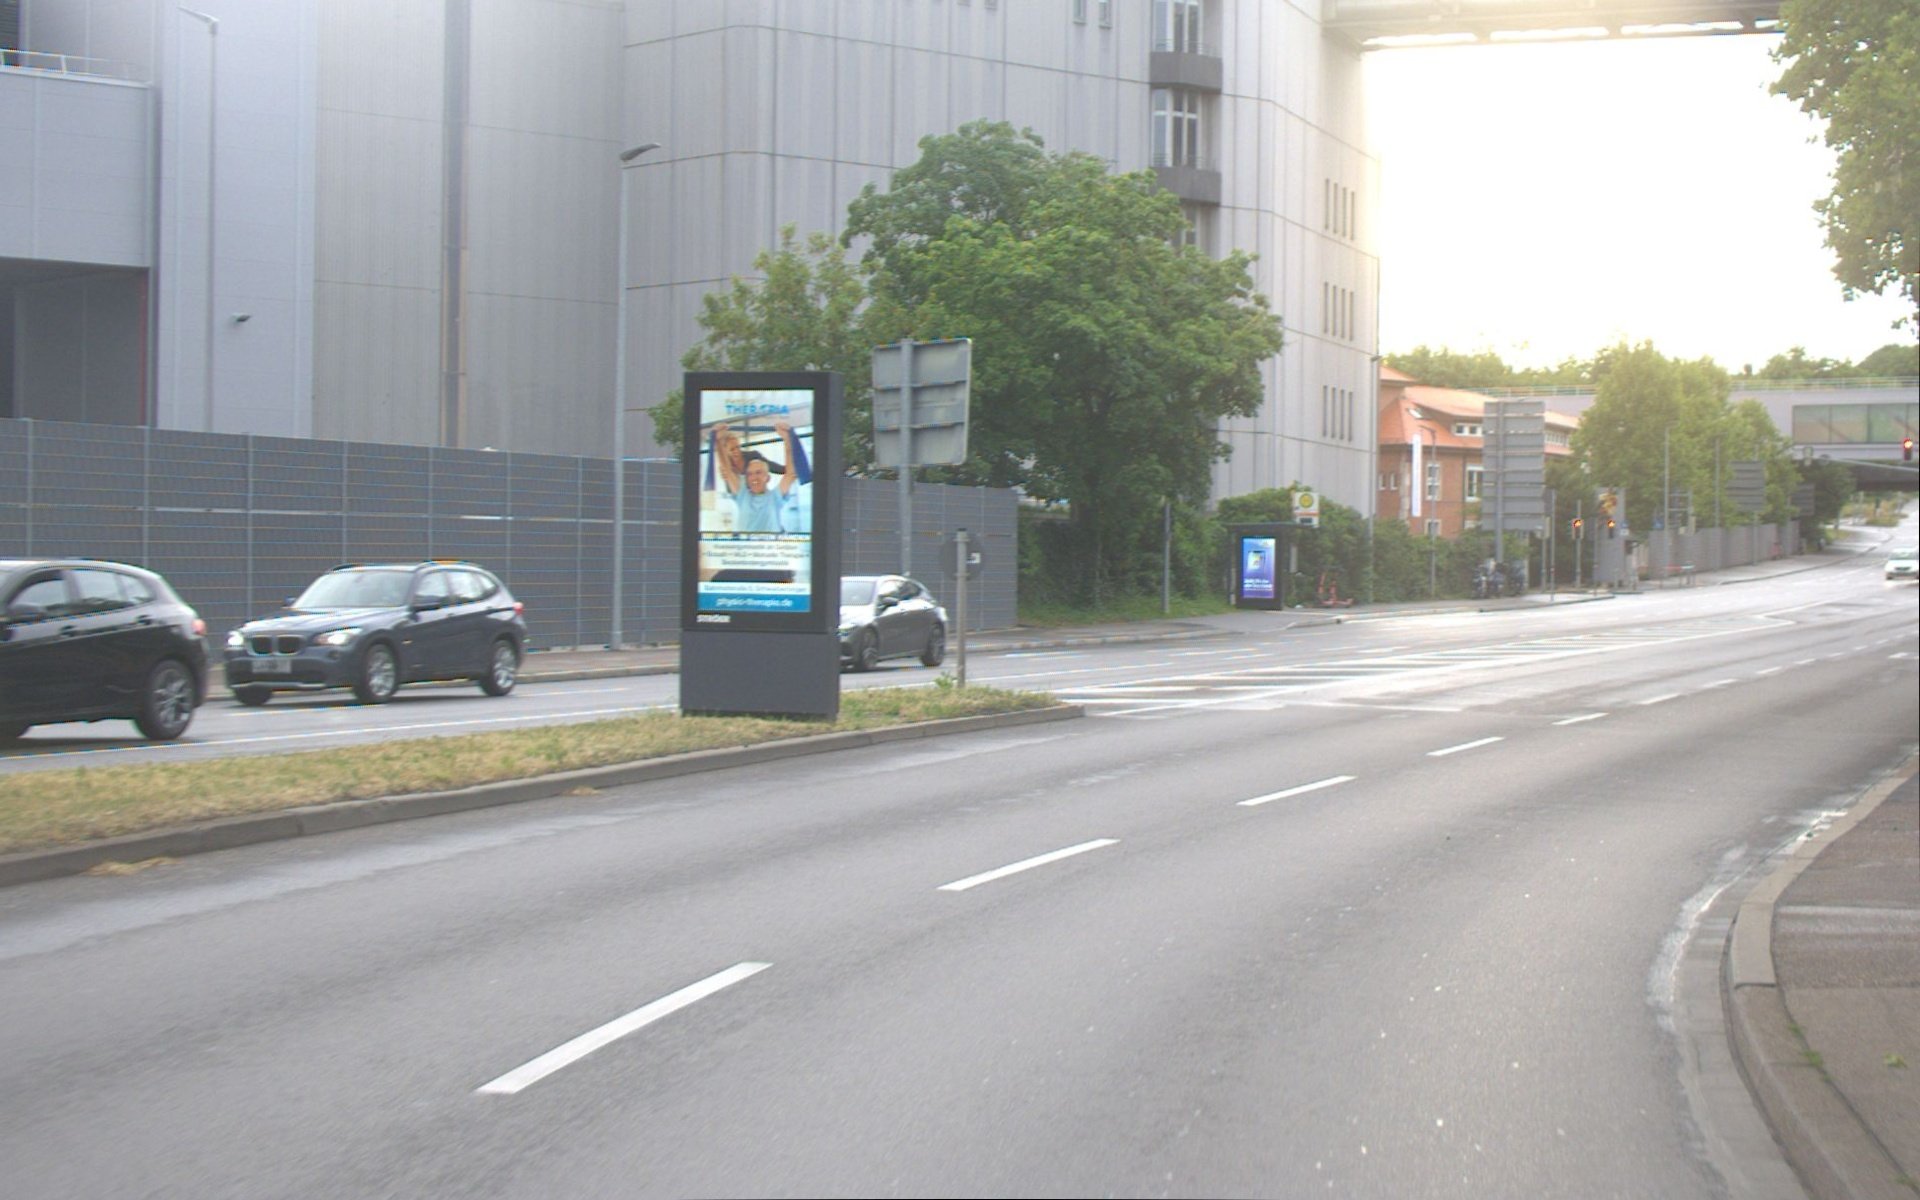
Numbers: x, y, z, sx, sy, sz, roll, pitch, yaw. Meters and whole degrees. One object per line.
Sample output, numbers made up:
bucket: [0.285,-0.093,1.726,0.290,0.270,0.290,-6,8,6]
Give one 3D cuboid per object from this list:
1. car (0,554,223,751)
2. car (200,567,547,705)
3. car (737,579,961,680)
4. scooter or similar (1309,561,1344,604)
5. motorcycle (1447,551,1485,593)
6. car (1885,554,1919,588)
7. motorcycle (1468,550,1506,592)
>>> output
car: [-7.634,0.372,26.137,1.785,1.435,4.390,1,1,22]
car: [-6.489,0.359,38.586,1.784,1.449,4.556,0,0,20]
car: [-1.585,0.411,50.879,1.784,1.380,4.542,-1,0,19]
scooter or similar: [10.929,-0.522,102.471,0.525,1.248,1.797,1,1,24]
motorcycle: [18.590,-1.037,126.262,0.914,1.527,3.297,1,1,17]
car: [50.679,-1.567,184.373,1.995,1.766,3.997,1,1,16]
motorcycle: [19.951,-1.105,130.172,0.959,1.550,3.297,1,1,17]
